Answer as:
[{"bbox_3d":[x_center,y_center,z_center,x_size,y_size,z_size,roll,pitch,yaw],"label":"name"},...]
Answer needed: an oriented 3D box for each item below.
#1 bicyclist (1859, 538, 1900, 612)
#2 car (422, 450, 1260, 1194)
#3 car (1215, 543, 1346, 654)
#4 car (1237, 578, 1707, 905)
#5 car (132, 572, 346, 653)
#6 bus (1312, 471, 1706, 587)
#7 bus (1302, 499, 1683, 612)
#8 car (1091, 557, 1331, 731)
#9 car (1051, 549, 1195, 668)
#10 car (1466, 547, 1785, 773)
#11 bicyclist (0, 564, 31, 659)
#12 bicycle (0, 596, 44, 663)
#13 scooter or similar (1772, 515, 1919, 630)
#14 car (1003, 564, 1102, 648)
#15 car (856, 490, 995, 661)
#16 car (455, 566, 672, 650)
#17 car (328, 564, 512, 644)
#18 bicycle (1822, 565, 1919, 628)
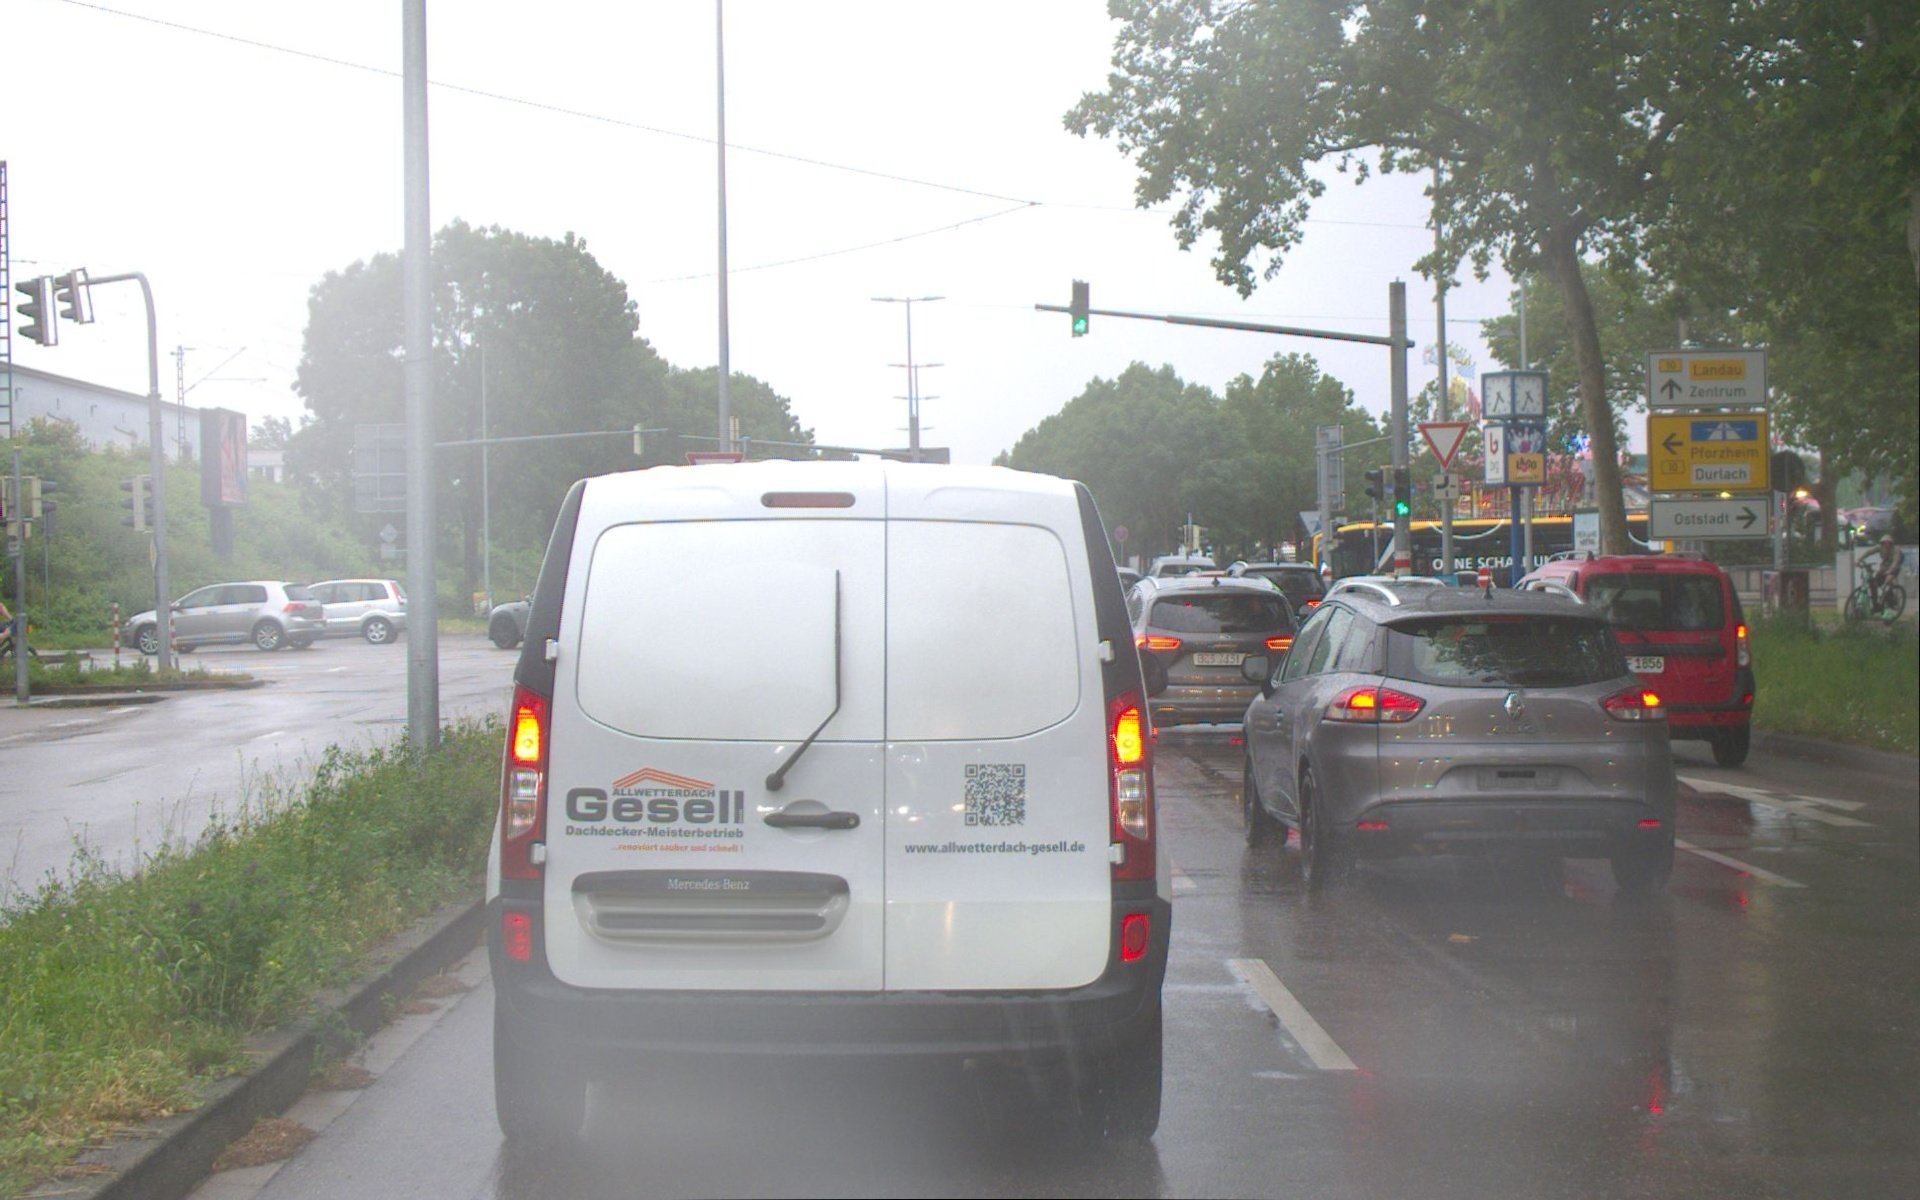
[{"bbox_3d":[17.642,-0.483,65.972,0.620,1.414,0.470,0,0,41],"label":"bicyclist"},{"bbox_3d":[-0.304,0.495,10.503,1.993,1.770,4.585,0,1,-1],"label":"car"},{"bbox_3d":[5.113,-0.053,55.251,1.708,1.722,3.843,0,1,-1],"label":"car"},{"bbox_3d":[2.436,0.620,17.234,1.683,1.403,3.843,1,1,-1],"label":"car"},{"bbox_3d":[-14.945,0.247,71.339,3.817,1.538,1.999,-2,0,13],"label":"car"},{"bbox_3d":[17.219,-2.237,108.202,11.970,3.411,2.315,-1,1,0],"label":"bus"},{"bbox_3d":[17.338,-1.473,112.181,11.969,3.411,2.483,-1,1,-3],"label":"bus"},{"bbox_3d":[2.207,0.351,31.126,1.854,1.455,3.843,0,1,-1],"label":"car"},{"bbox_3d":[2.304,0.089,49.497,1.854,1.644,3.843,0,1,-1],"label":"car"},{"bbox_3d":[5.342,0.455,28.106,1.710,1.688,4.272,1,0,-1],"label":"car"},{"bbox_3d":[-14.872,0.179,52.782,1.040,1.445,0.729,-2,1,-25],"label":"bicyclist"},{"bbox_3d":[-14.881,0.448,52.846,1.040,0.949,2.889,-2,1,-25],"label":"bicycle"},{"bbox_3d":[20.378,-0.606,74.540,1.890,2.437,5.316,-1,1,-41],"label":"scooter or similar"},{"bbox_3d":[1.828,0.111,69.129,1.854,1.644,3.843,0,0,-1],"label":"car"},{"bbox_3d":[-0.475,-0.353,48.035,1.854,2.288,3.843,0,1,-1],"label":"car"},{"bbox_3d":[-7.958,0.144,68.894,4.186,1.645,1.796,0,0,35],"label":"car"},{"bbox_3d":[-12.493,0.086,79.662,3.986,1.711,2.000,-2,0,-3],"label":"car"},{"bbox_3d":[17.608,-0.074,65.943,0.620,1.182,3.366,0,0,41],"label":"bicycle"}]
